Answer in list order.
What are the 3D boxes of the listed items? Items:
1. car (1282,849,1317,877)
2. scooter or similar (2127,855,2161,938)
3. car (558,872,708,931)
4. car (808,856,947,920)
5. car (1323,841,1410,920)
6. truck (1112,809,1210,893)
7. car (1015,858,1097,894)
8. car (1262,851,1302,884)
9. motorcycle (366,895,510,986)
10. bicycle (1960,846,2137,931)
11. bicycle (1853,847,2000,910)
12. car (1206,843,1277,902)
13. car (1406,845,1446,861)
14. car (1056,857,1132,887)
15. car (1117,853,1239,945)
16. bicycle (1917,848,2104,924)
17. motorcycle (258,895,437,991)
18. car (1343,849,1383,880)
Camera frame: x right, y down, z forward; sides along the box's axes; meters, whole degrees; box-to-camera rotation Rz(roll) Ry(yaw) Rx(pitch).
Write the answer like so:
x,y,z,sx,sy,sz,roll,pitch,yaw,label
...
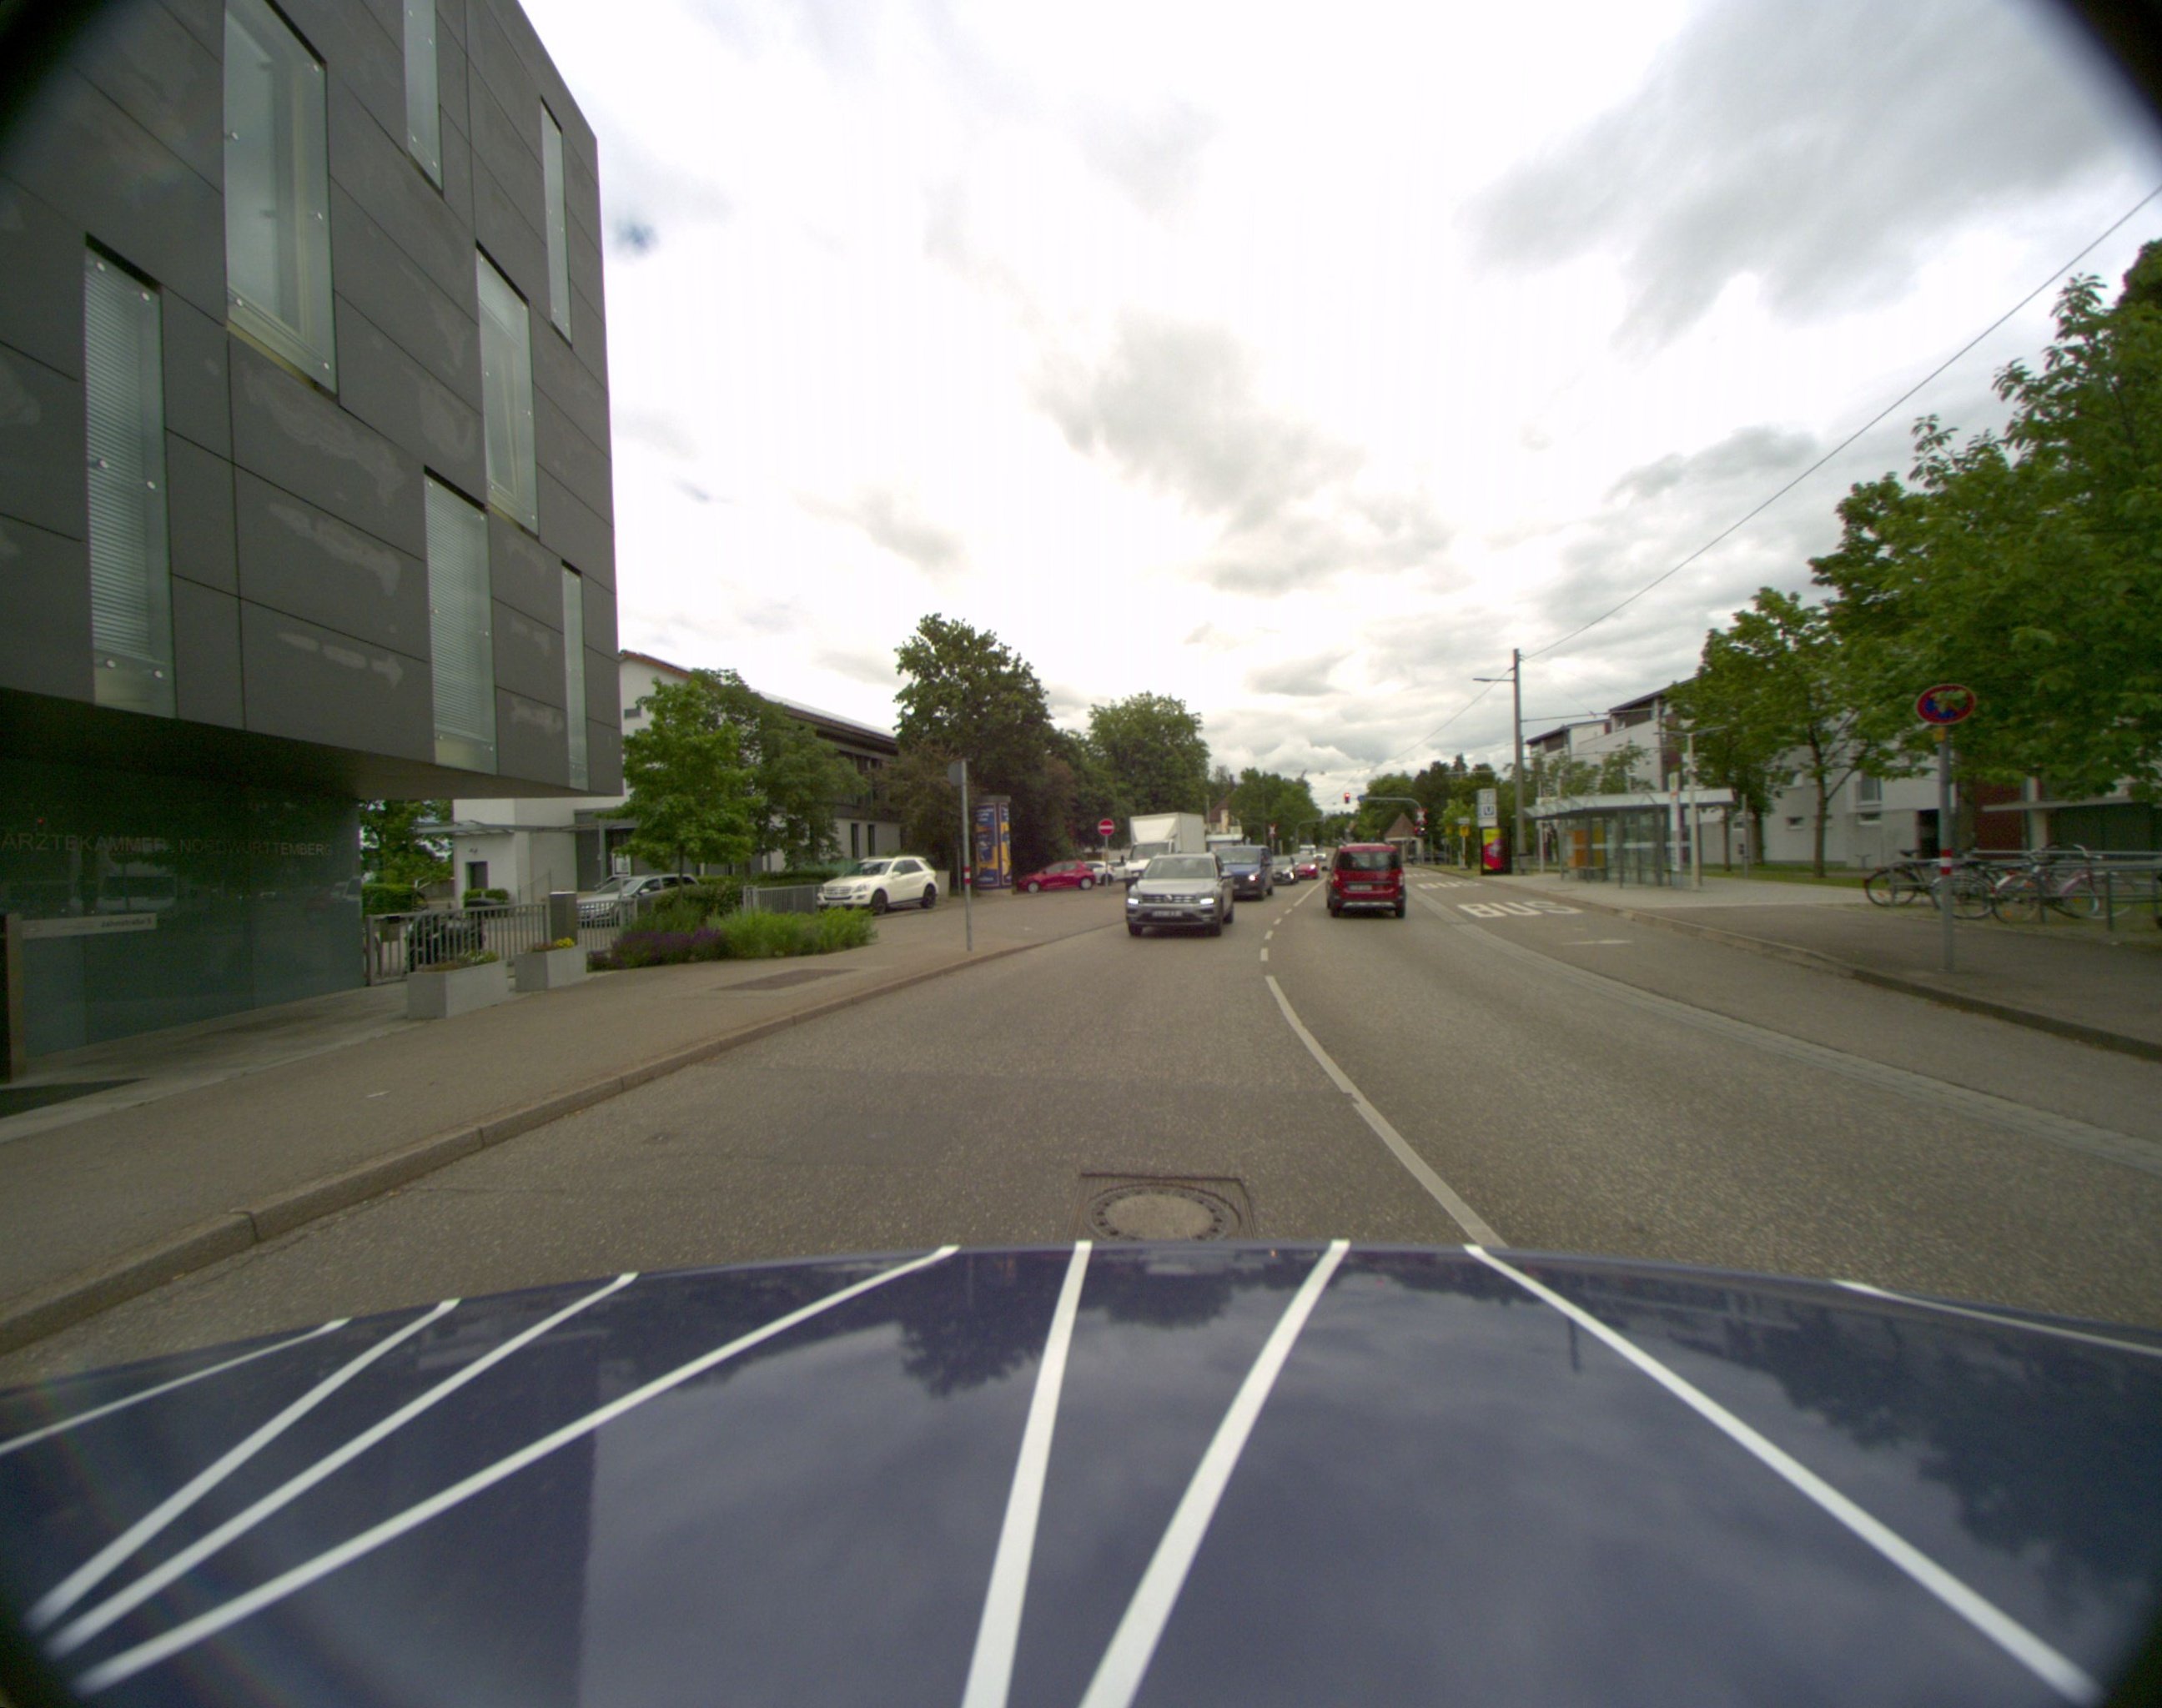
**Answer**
x,y,z,sx,sy,sz,roll,pitch,yaw,label
12.796,0.518,44.576,1.847,1.525,4.005,-1,0,15,car
13.596,0.515,9.188,0.788,1.004,0.774,-2,0,12,scooter or similar
-14.248,1.462,24.483,1.618,1.475,4.221,-2,1,13,car
-6.258,0.998,24.044,1.854,1.747,4.728,-2,0,19,car
7.274,0.600,19.732,1.683,1.798,4.357,0,0,15,car
3.914,-0.181,35.078,2.537,3.406,7.786,-2,1,20,truck
-1.279,1.055,37.641,3.897,1.475,1.682,-4,0,-5,car
10.090,0.641,38.067,1.847,1.525,4.005,-1,0,15,car
-11.282,1.464,13.450,0.669,1.384,2.125,-2,-1,1,motorcycle
13.574,0.479,10.690,1.708,1.082,0.408,-3,0,7,bicycle
14.775,0.438,13.316,1.689,1.019,0.396,-4,0,21,bicycle
5.655,0.591,26.457,1.847,1.850,4.005,-2,0,20,car
40.391,-0.159,88.946,3.992,1.696,1.931,-2,0,16,car
0.725,1.003,42.872,4.001,1.402,1.523,-4,1,-12,car
2.209,0.835,16.100,1.809,1.637,4.336,-2,0,17,car
13.791,0.483,11.324,1.750,1.040,0.408,-4,0,21,bicycle
-12.789,1.499,13.399,0.669,1.385,2.463,-2,0,1,motorcycle
14.075,0.502,38.067,1.770,1.470,4.005,0,0,19,car
